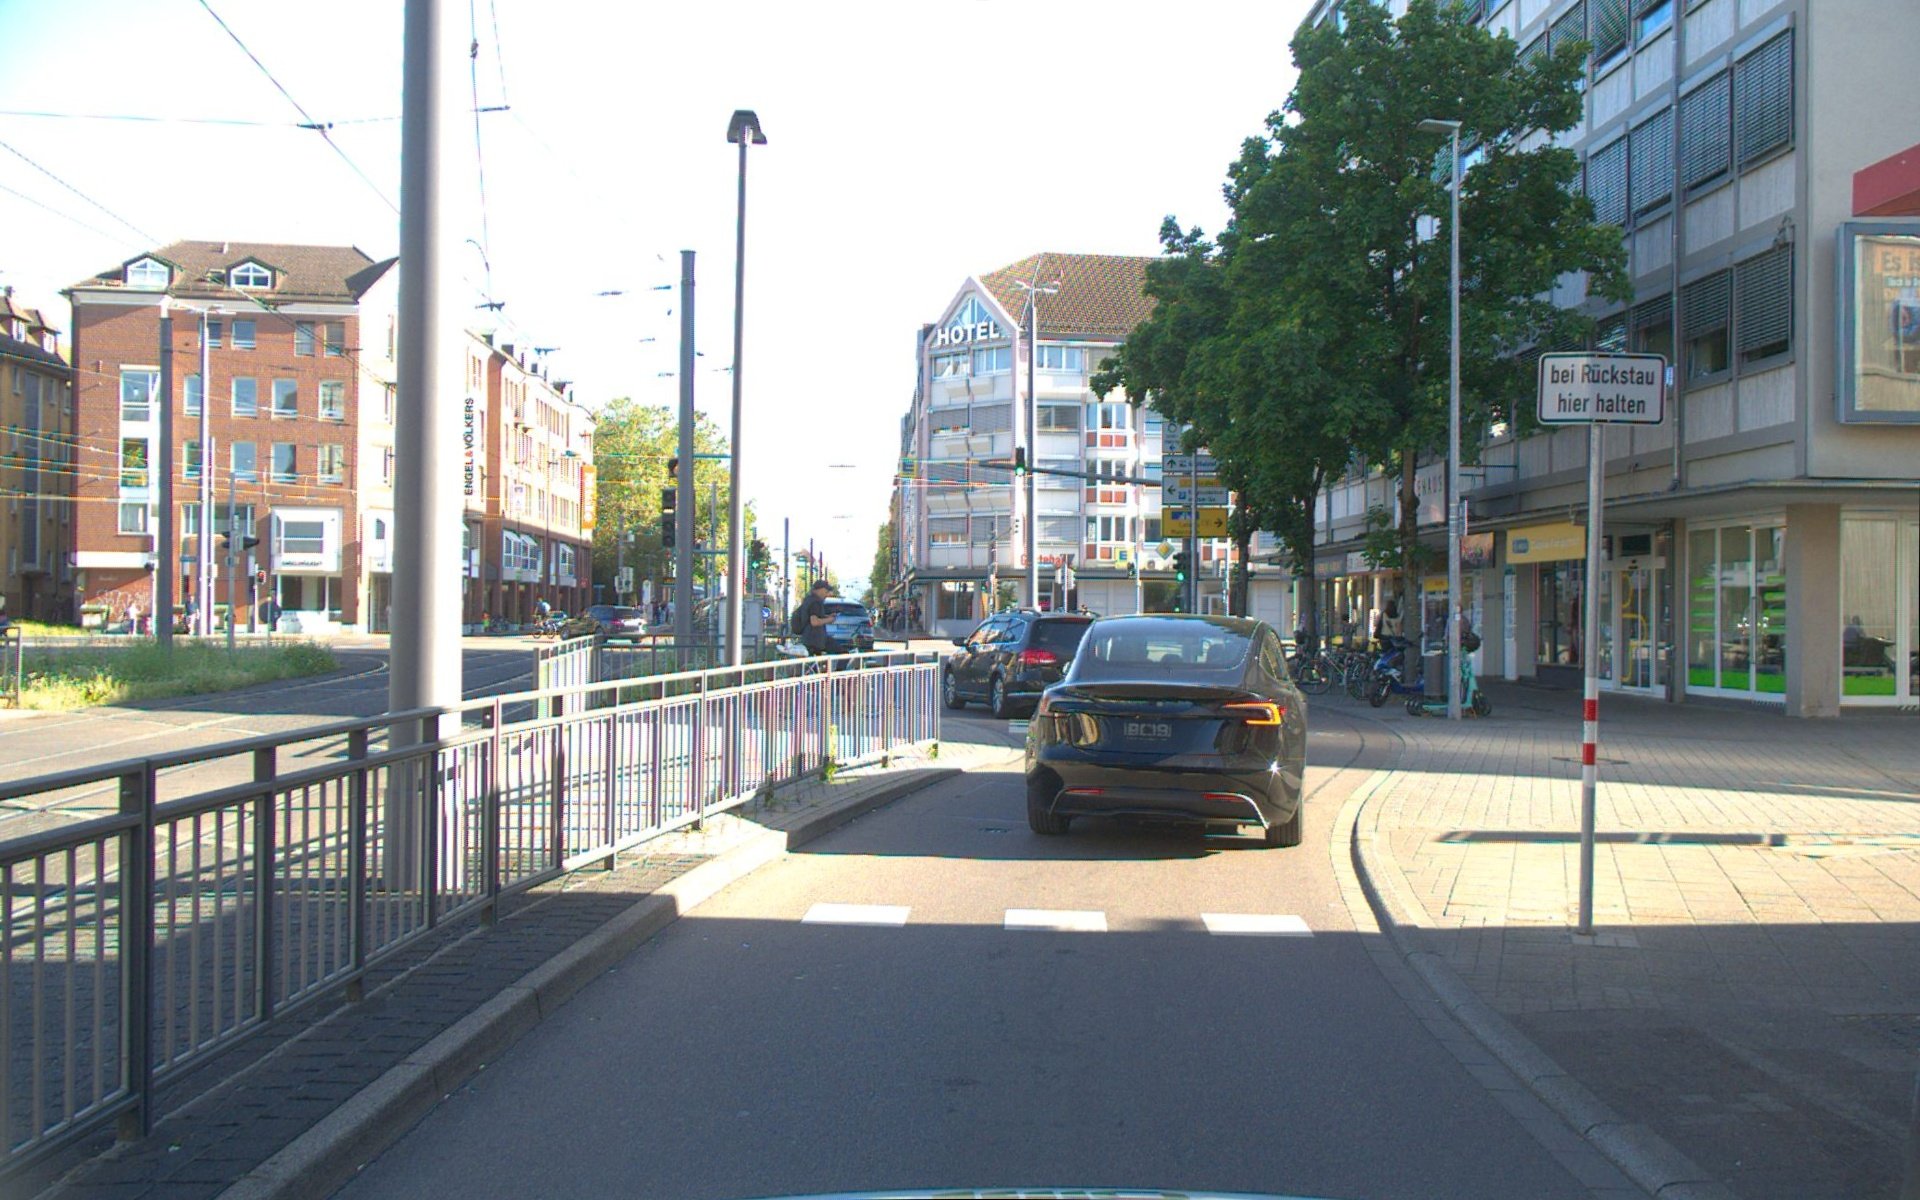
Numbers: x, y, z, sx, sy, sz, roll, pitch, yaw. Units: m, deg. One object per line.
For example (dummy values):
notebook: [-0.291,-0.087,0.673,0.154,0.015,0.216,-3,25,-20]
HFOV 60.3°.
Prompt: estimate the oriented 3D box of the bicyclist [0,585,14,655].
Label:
bicyclist: [-23.128,0.472,39.557,0.577,1.678,0.804,1,-1,-9]

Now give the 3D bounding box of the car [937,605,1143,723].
car: [1.009,0.833,23.388,1.734,1.469,4.513,1,0,-13]

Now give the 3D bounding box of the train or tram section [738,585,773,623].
train or tram section: [-20.225,0.468,164.216,2.675,3.604,10.079,1,-1,-3]

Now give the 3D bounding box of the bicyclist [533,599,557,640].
bicyclist: [-18.367,0.881,73.190,0.812,1.803,0.613,0,-1,28]

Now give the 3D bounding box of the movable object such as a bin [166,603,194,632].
movable object such as a bin: [-39.779,0.908,84.358,0.978,1.462,1.093,1,-1,-10]

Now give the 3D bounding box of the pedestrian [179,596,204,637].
pedestrian: [-32.802,0.719,70.603,0.682,1.740,0.928,1,-1,-7]

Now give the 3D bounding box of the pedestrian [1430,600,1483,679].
pedestrian: [10.365,0.822,34.532,0.826,1.630,0.879,1,-1,-1]

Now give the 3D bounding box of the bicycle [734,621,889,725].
bicycle: [-1.826,0.897,20.415,1.797,1.233,0.636,1,-1,-26]

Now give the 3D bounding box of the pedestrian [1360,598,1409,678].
pedestrian: [9.379,0.843,36.562,0.826,1.737,0.879,1,-1,-1]

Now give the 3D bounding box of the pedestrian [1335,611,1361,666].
pedestrian: [10.348,1.013,44.081,0.631,1.447,0.621,1,-1,11]

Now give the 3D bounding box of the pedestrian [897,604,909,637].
pedestrian: [-3.202,1.166,92.952,0.614,1.814,0.917,1,-1,-4]

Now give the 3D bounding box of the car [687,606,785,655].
car: [-7.800,1.038,57.382,1.564,1.646,3.727,2,-1,-41]

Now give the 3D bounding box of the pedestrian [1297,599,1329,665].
pedestrian: [9.517,0.870,44.604,0.825,1.751,0.880,1,-1,11]

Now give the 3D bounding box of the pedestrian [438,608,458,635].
pedestrian: [-31.763,1.336,102.608,0.866,1.596,0.863,1,-1,21]

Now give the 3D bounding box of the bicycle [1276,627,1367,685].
bicycle: [7.357,1.130,33.689,1.774,1.172,0.435,0,-1,-6]

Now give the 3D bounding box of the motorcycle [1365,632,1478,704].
motorcycle: [7.710,1.133,27.657,1.751,1.149,0.504,1,-1,-4]

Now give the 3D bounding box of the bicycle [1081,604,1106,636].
bicycle: [6.200,0.919,76.919,0.573,1.489,1.678,0,0,-16]

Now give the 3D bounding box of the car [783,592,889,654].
car: [-3.572,0.650,47.185,1.818,1.663,3.454,1,-1,-28]

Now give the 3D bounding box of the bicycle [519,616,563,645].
bicycle: [-18.567,1.367,73.277,1.995,1.245,0.628,0,-1,28]

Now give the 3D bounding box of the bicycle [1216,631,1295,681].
bicycle: [7.294,1.377,40.822,1.851,1.177,0.480,-1,-1,-1]

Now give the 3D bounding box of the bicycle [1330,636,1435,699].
bicycle: [7.563,1.199,29.589,1.817,1.074,0.398,-1,-1,-13]

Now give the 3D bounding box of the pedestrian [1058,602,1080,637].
pedestrian: [5.033,0.888,76.484,0.766,1.604,0.864,1,0,-16]

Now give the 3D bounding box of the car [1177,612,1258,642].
car: [13.193,1.401,84.921,3.767,1.457,1.801,1,-3,-7]

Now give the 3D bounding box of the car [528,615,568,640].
car: [-25.281,1.702,101.570,1.782,1.479,3.972,-1,-1,-6]

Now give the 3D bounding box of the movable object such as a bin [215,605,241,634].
movable object such as a bin: [-37.474,0.978,84.706,0.978,1.462,1.093,1,-1,-10]

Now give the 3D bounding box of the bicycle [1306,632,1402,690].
bicycle: [7.539,1.164,31.703,1.730,1.075,0.458,1,-1,4]

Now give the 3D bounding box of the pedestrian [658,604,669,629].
pedestrian: [-19.174,1.062,107.047,0.574,1.558,0.634,1,-1,-18]

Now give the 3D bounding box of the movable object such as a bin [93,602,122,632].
movable object such as a bin: [-43.234,0.856,83.866,0.978,1.462,1.093,1,-1,-10]

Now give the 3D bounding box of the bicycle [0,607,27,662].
bicycle: [-23.149,0.827,39.714,0.563,1.313,2.023,1,-1,-8]

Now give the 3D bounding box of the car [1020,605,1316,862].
car: [1.656,0.799,11.922,1.752,1.476,3.943,1,0,12]

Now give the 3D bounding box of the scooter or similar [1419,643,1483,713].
scooter or similar: [7.563,1.199,25.468,0.936,1.057,0.160,0,-1,1]

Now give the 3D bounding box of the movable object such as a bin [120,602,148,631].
movable object such as a bin: [-42.018,0.859,84.142,0.978,1.462,1.093,1,-1,-10]

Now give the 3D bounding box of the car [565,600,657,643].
car: [-13.567,0.830,64.289,3.407,1.578,1.723,0,-1,38]

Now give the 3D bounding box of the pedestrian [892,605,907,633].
pedestrian: [-3.794,1.191,103.996,0.896,1.785,0.839,1,-1,-2]

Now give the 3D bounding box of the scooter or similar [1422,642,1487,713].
scooter or similar: [7.559,1.184,25.270,0.944,1.061,0.160,0,-1,1]

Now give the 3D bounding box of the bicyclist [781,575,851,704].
bicyclist: [-1.783,0.487,20.437,0.672,1.550,0.629,1,-1,-26]
